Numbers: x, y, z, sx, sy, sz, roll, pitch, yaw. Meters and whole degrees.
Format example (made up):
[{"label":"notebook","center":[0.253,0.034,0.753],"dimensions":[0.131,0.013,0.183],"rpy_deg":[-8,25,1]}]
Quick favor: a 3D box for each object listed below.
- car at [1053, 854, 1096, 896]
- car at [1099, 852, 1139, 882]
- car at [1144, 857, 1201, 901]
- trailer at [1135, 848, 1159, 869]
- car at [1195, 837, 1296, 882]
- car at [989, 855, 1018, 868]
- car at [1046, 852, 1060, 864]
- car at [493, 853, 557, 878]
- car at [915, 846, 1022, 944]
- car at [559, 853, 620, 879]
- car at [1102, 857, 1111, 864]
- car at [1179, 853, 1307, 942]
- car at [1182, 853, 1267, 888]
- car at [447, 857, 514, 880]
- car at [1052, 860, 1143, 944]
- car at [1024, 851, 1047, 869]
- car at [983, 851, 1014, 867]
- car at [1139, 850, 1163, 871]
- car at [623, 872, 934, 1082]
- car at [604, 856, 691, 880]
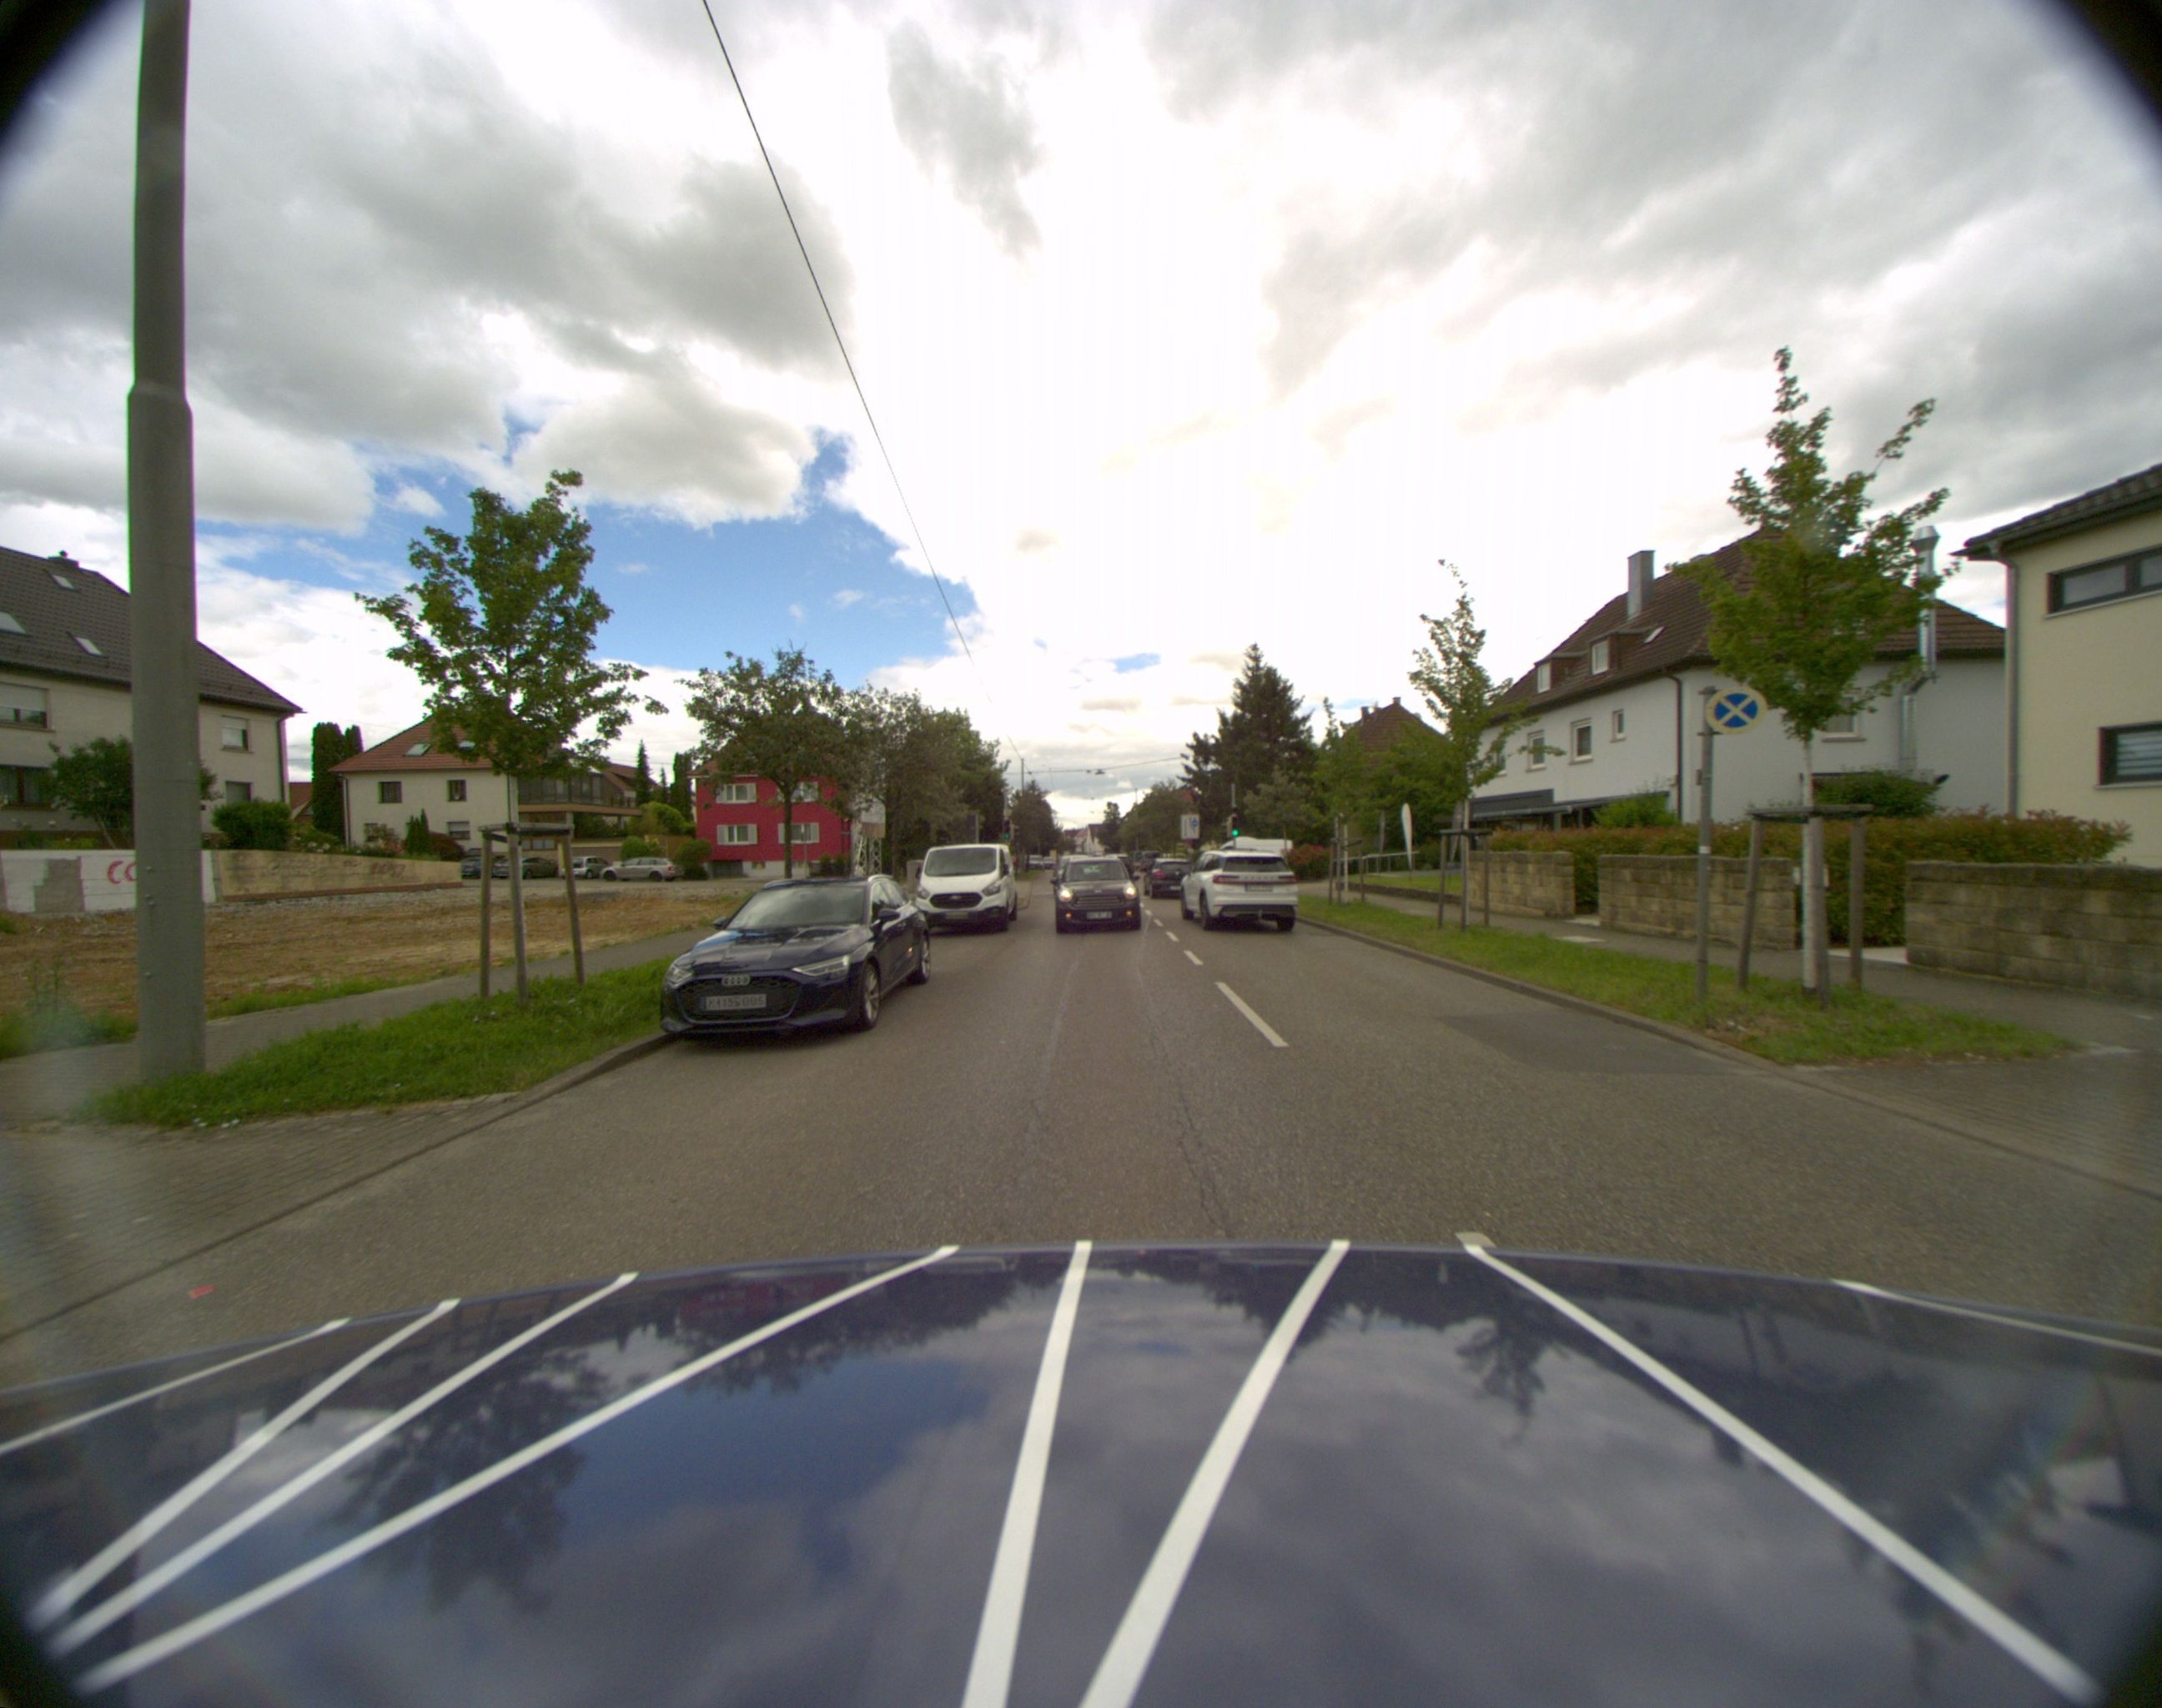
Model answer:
[{"label":"car","center":[-0.222,0.799,31.113],"dimensions":[1.590,1.598,3.685],"rpy_deg":[-1,0,2]},{"label":"car","center":[2.116,0.740,43.482],"dimensions":[1.900,1.615,3.999],"rpy_deg":[1,0,-2]},{"label":"car","center":[3.275,0.866,27.832],"dimensions":[1.620,1.463,4.000],"rpy_deg":[0,0,0]},{"label":"trailer","center":[7.051,0.470,81.733],"dimensions":[2.160,2.076,4.425],"rpy_deg":[-1,0,0]},{"label":"car","center":[9.763,0.280,45.118],"dimensions":[5.610,2.549,2.133],"rpy_deg":[1,1,18]},{"label":"car","center":[-9.111,0.829,89.129],"dimensions":[3.362,1.450,1.748],"rpy_deg":[-1,0,-6]},{"label":"car","center":[-3.557,0.497,97.840],"dimensions":[1.728,1.582,4.156],"rpy_deg":[0,0,-1]},{"label":"car","center":[-36.405,0.740,49.848],"dimensions":[1.621,1.458,3.501],"rpy_deg":[-3,1,-1]},{"label":"car","center":[-2.499,0.837,17.978],"dimensions":[1.779,1.932,4.788],"rpy_deg":[-2,0,-1]},{"label":"car","center":[-31.862,0.762,49.378],"dimensions":[1.621,1.531,3.501],"rpy_deg":[-3,1,-1]},{"label":"car","center":[6.136,1.624,183.149],"dimensions":[1.825,1.594,4.299],"rpy_deg":[-4,0,3]},{"label":"car","center":[3.349,0.815,16.620],"dimensions":[1.818,1.683,4.465],"rpy_deg":[0,0,0]},{"label":"car","center":[7.496,0.816,39.392],"dimensions":[1.994,1.611,4.657],"rpy_deg":[-1,0,45]},{"label":"car","center":[-39.176,0.908,49.671],"dimensions":[1.621,1.316,3.501],"rpy_deg":[-3,1,-1]},{"label":"car","center":[0.375,0.953,16.841],"dimensions":[1.743,1.573,3.685],"rpy_deg":[-2,0,2]},{"label":"car","center":[-4.821,0.633,80.694],"dimensions":[1.902,1.826,4.915],"rpy_deg":[0,0,2]},{"label":"car","center":[-9.348,0.555,85.762],"dimensions":[3.361,1.624,1.579],"rpy_deg":[2,0,-4]},{"label":"car","center":[6.834,0.624,74.676],"dimensions":[1.998,1.938,4.898],"rpy_deg":[-1,0,1]},{"label":"car","center":[-2.818,1.032,8.179],"dimensions":[1.669,1.507,4.220],"rpy_deg":[-2,0,-1]},{"label":"car","center":[-25.966,0.850,45.606],"dimensions":[4.231,1.416,1.760],"rpy_deg":[0,-1,-1]}]
